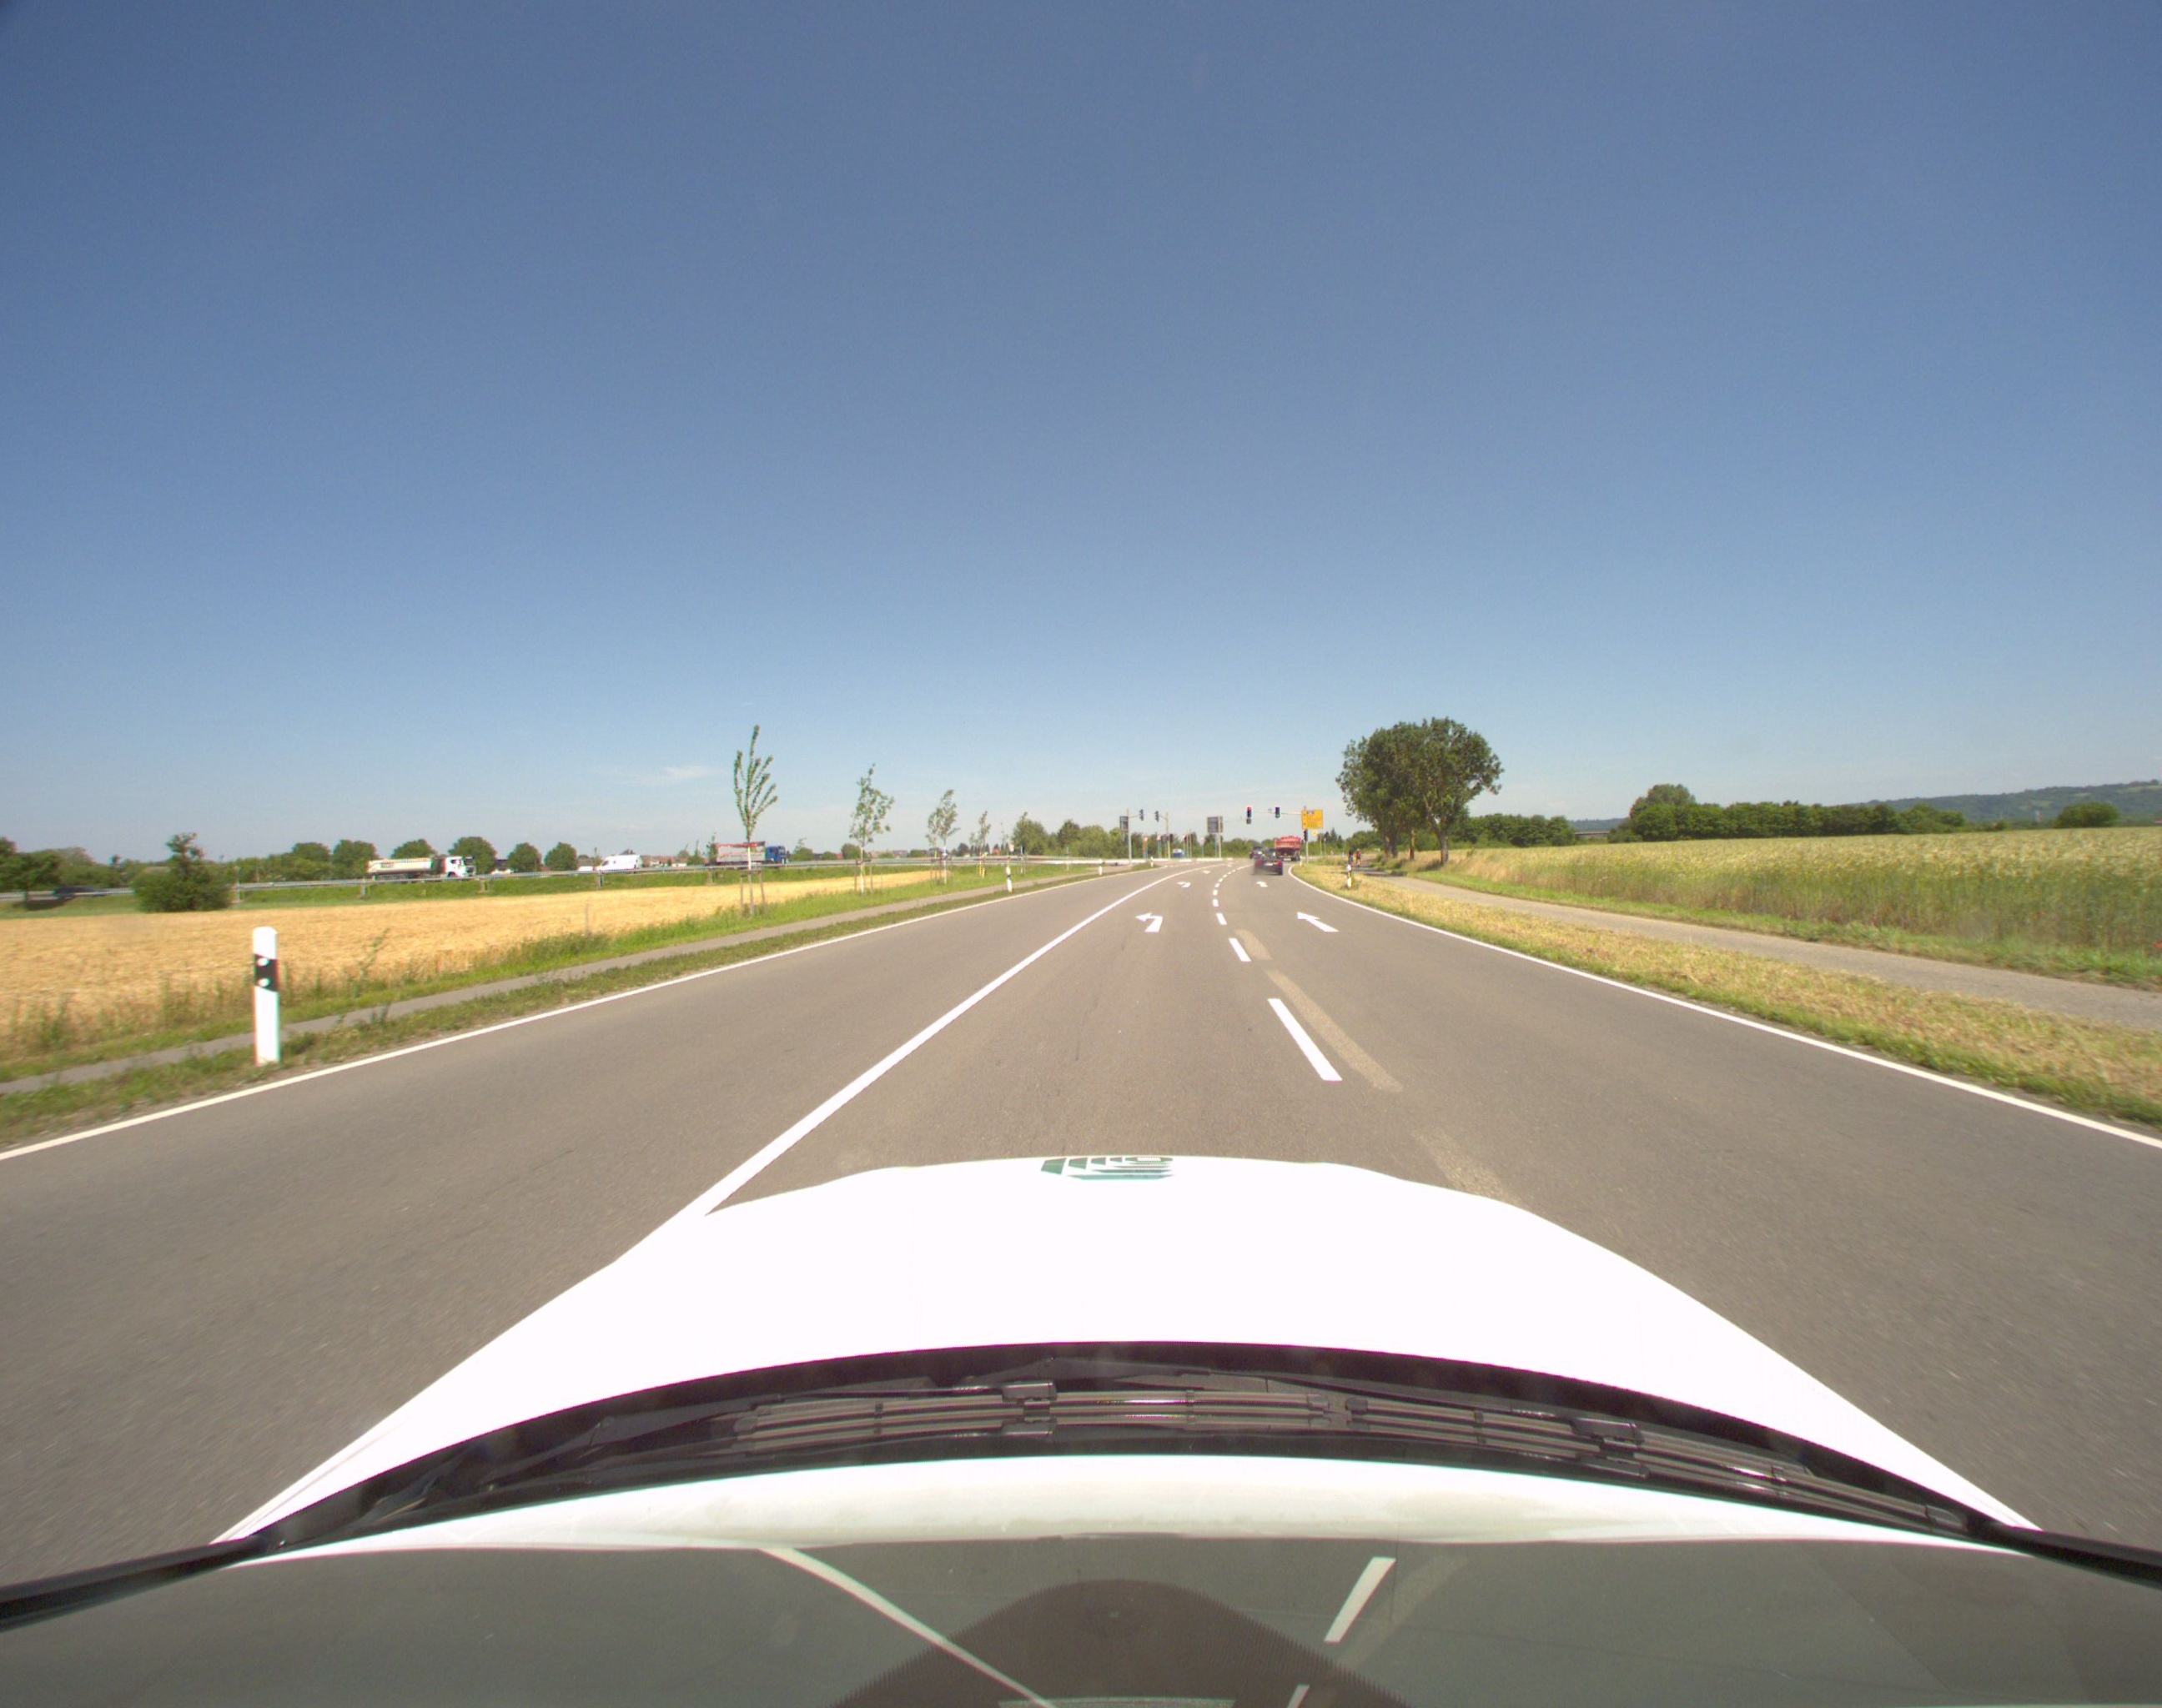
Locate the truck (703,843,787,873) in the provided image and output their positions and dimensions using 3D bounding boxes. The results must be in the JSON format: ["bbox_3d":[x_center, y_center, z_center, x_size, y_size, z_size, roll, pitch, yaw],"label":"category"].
[{"bbox_3d":[-44.613,0.498,108.262,10.041,3.793,2.627,-1,0,2],"label":"truck"}]

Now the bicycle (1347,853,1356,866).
[{"bbox_3d":[26.004,0.519,78.342,0.600,1.176,2.062,2,1,23],"label":"bicycle"}]

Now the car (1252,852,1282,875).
[{"bbox_3d":[11.618,0.575,50.848,1.735,1.376,3.693,0,-1,14],"label":"car"}]

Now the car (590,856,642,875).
[{"bbox_3d":[-64.225,1.595,112.552,5.901,2.421,2.246,-1,0,-2],"label":"car"}]

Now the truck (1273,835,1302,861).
[{"bbox_3d":[25.572,-0.671,100.696,2.692,3.053,8.203,-1,-1,19],"label":"truck"}]

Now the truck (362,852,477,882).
[{"bbox_3d":[-85.274,1.608,105.116,11.962,3.614,2.979,-1,0,-3],"label":"truck"}]

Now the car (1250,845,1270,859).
[{"bbox_3d":[26.159,-0.243,118.819,1.913,1.978,4.710,-1,0,23],"label":"car"}]

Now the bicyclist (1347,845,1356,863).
[{"bbox_3d":[26.046,0.006,78.401,0.582,1.734,1.178,3,2,23],"label":"bicyclist"}]

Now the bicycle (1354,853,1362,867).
[{"bbox_3d":[25.132,0.533,73.854,0.693,1.210,2.061,1,0,19],"label":"bicycle"}]

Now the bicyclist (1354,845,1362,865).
[{"bbox_3d":[25.130,0.083,73.818,0.623,1.782,0.982,3,2,19],"label":"bicyclist"}]

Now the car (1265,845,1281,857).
[{"bbox_3d":[30.316,-0.471,128.665,1.914,1.739,4.914,-1,0,20],"label":"car"}]
